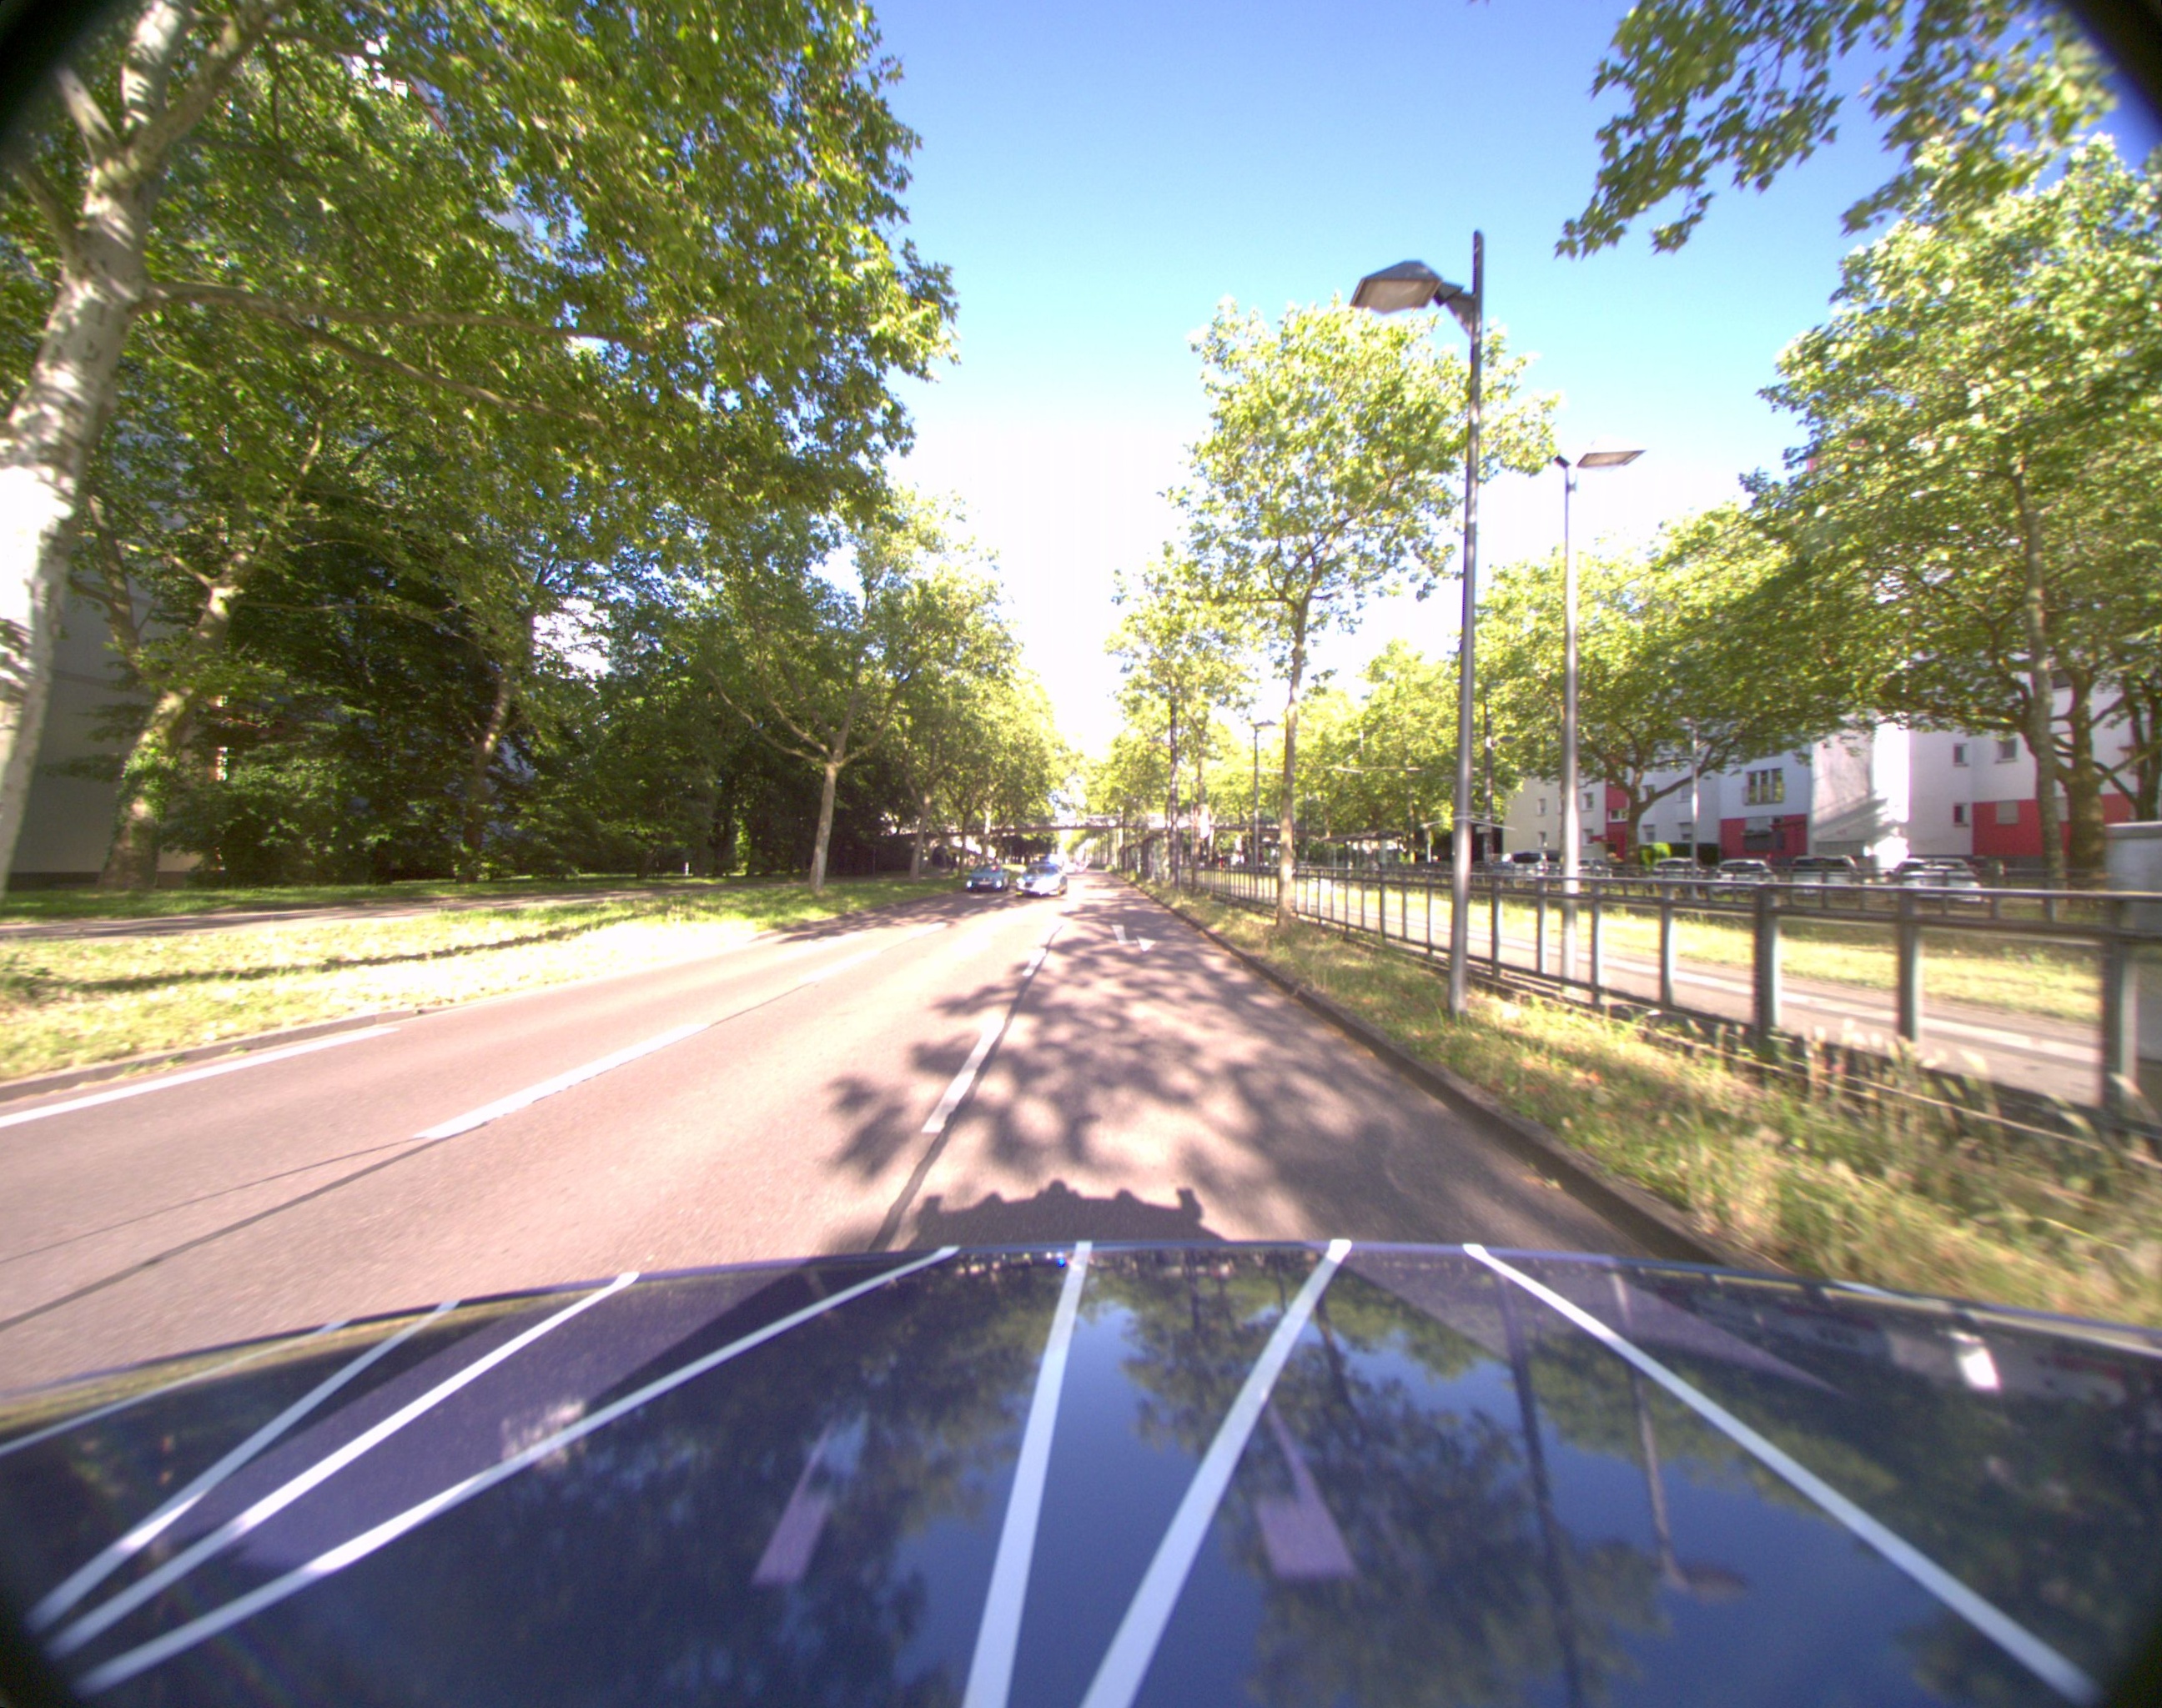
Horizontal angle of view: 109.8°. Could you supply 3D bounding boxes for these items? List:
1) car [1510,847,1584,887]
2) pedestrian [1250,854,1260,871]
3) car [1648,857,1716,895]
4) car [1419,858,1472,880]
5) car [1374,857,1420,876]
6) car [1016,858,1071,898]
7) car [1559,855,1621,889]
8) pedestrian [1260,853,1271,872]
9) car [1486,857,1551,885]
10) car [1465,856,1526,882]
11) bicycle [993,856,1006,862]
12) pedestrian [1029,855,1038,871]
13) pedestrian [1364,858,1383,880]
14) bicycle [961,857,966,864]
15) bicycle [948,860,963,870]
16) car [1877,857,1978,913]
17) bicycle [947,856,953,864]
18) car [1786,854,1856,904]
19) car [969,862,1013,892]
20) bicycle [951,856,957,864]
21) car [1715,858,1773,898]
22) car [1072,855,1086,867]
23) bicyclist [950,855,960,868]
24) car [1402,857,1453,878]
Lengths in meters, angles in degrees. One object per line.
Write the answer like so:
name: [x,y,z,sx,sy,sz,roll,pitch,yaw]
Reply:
car: [25.382,0.688,41.370,4.508,2.050,1.895,-1,-1,-38]
pedestrian: [15.585,0.791,68.015,0.644,1.505,0.683,1,0,-12]
car: [25.605,0.894,32.320,1.895,1.495,4.510,-2,-1,42]
car: [26.085,1.040,54.347,4.208,1.419,1.696,-1,-1,-38]
car: [26.578,1.057,63.913,4.208,1.419,1.696,-1,-1,-38]
car: [-1.589,0.998,33.750,1.897,1.623,4.503,-1,0,4]
car: [25.823,0.893,38.479,4.068,1.601,1.685,0,-1,-43]
pedestrian: [16.353,0.762,67.450,0.731,1.625,0.715,1,1,-2]
car: [25.810,0.983,44.785,4.509,1.489,1.895,-1,-1,-41]
car: [26.422,0.957,48.364,4.509,1.489,1.895,-1,-1,-41]
bicycle: [-14.174,0.859,131.896,2.073,1.151,0.561,1,0,-10]
pedestrian: [-5.427,1.022,86.525,0.658,1.766,0.741,-1,-1,38]
pedestrian: [15.699,0.796,40.812,0.696,1.121,0.662,3,1,2]
bicycle: [-20.096,1.123,130.161,0.577,1.246,1.806,-1,0,-1]
bicycle: [-15.967,1.419,96.571,1.831,1.140,0.817,2,-1,37]
car: [24.880,0.860,22.443,1.571,1.465,4.069,-2,-1,42]
bicycle: [-21.134,0.984,122.390,0.577,1.246,1.806,-1,0,-1]
car: [25.474,0.821,26.257,1.571,1.559,4.069,-2,-1,42]
car: [-4.732,1.179,40.378,1.780,1.474,4.101,-2,-1,1]
bicycle: [-21.480,0.972,128.458,0.577,1.246,1.806,-1,0,-1]
car: [25.661,0.904,29.368,1.571,1.424,4.069,-2,-1,42]
car: [-0.239,0.954,108.170,1.899,1.601,4.000,-1,0,0]
bicyclist: [-15.986,1.004,96.597,0.954,1.622,0.817,2,-1,37]
car: [26.113,1.030,57.155,4.208,1.419,1.696,-1,-1,-38]
